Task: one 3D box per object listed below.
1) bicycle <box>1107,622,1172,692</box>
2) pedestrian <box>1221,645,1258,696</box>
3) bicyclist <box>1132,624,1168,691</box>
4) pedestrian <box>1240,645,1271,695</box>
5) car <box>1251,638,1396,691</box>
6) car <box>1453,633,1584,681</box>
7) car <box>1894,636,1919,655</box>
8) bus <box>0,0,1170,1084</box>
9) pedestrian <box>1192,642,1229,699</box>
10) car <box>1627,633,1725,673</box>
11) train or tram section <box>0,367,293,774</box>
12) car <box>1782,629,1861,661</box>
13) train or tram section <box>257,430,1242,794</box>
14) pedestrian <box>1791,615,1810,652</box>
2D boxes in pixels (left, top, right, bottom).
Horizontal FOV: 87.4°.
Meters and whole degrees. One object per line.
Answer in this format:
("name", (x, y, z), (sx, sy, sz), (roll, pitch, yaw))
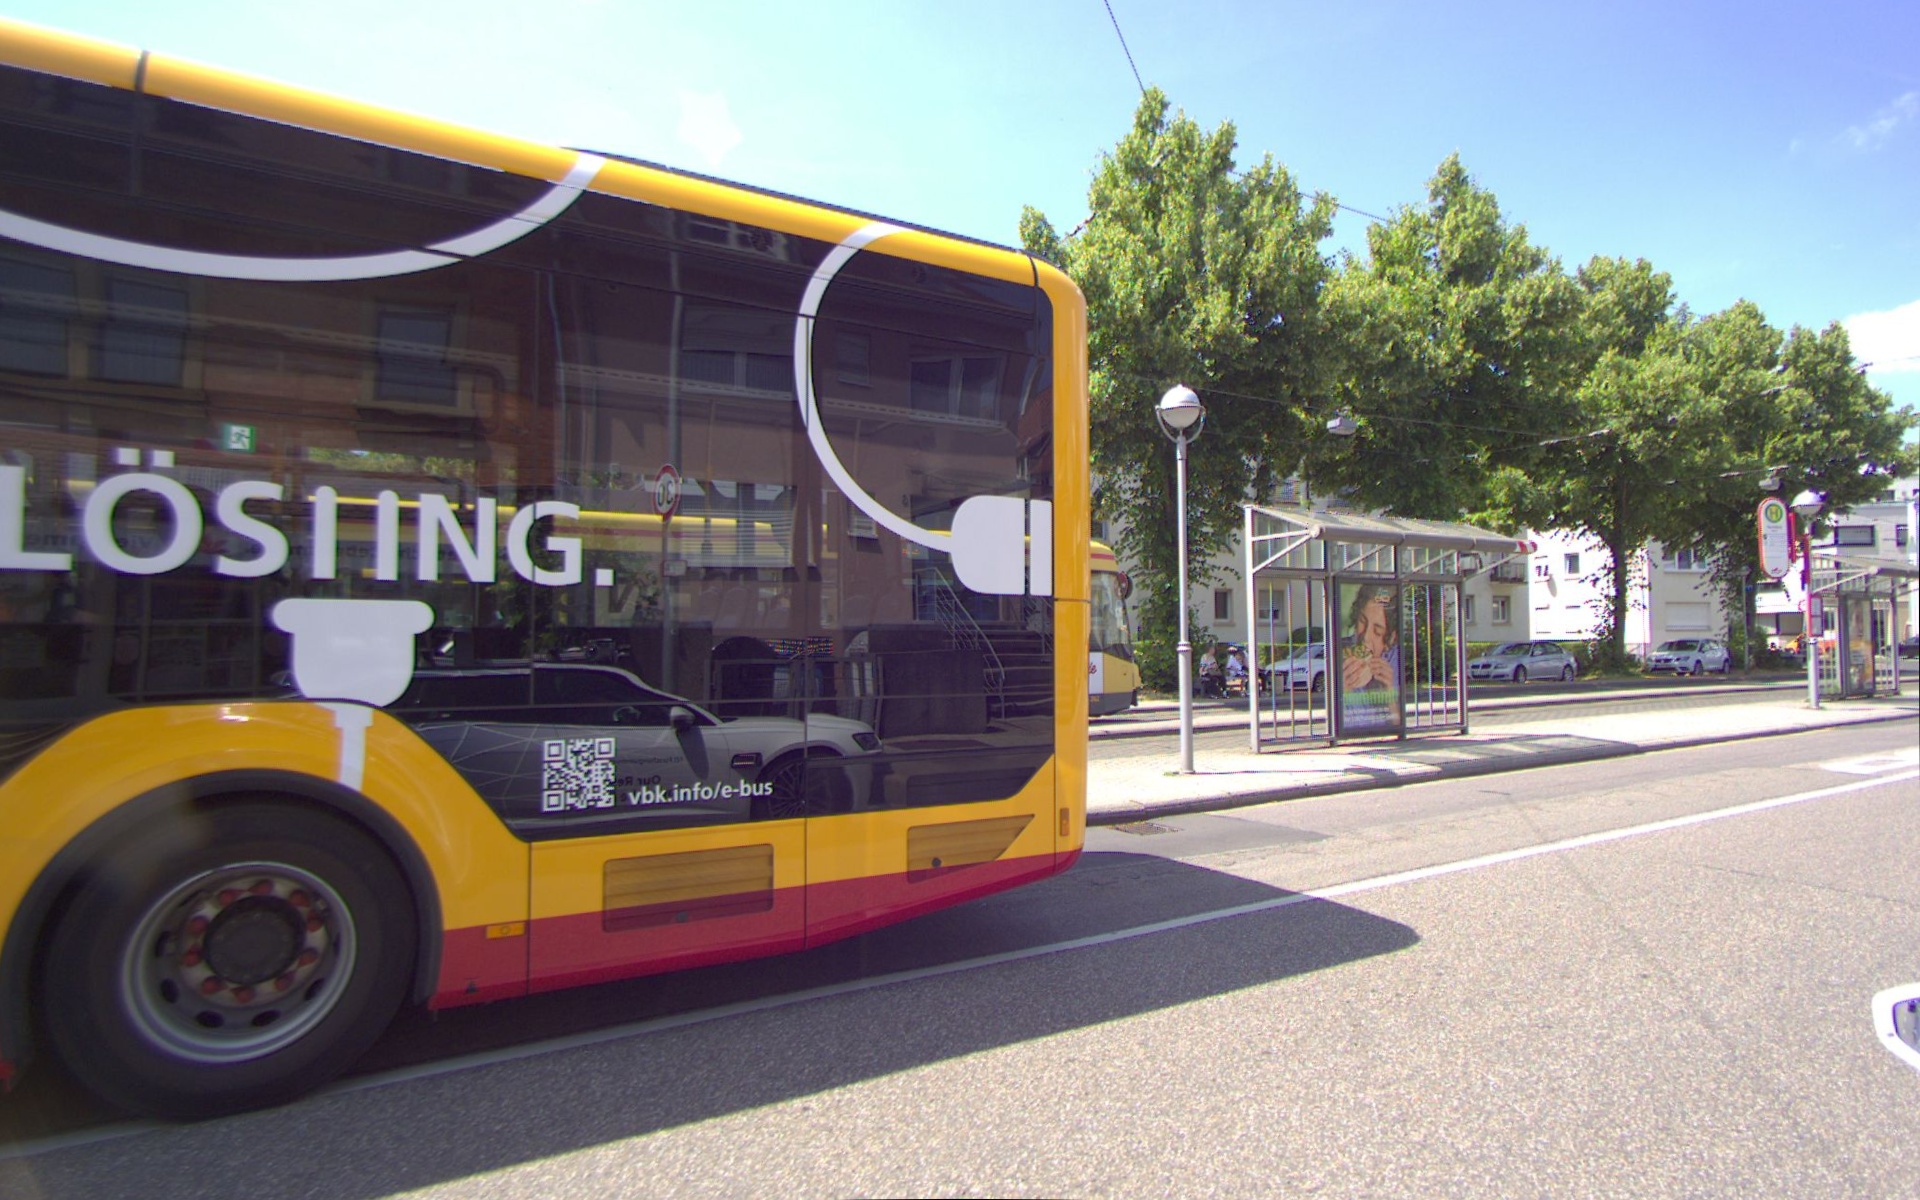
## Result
("bicycle", (4.863, 1.551, 27.189), (1.651, 1.837, 0.629), (3, -1, -31))
("pedestrian", (6.563, 1.660, 23.599), (0.533, 1.153, 0.612), (3, -1, -27))
("bicyclist", (5.181, 1.558, 27.386), (0.665, 1.766, 0.632), (3, -1, -30))
("pedestrian", (7.017, 1.662, 23.855), (0.451, 1.153, 0.508), (2, -1, -27))
("car", (9.926, 1.758, 27.356), (3.954, 1.290, 1.560), (3, -1, -31))
("car", (17.847, 1.825, 32.052), (4.351, 1.375, 1.685), (3, -1, -31))
("car", (62.918, 3.000, 65.061), (1.564, 1.239, 3.207), (2, -1, -12))
("bus", (-5.005, -0.495, 2.765), (12.054, 3.290, 2.884), (3, -1, -30))
("pedestrian", (5.783, 1.626, 23.211), (0.533, 1.267, 0.612), (2, -1, -27))
("car", (26.796, 1.983, 37.542), (3.959, 1.336, 1.704), (3, -1, -34))
("train or tram section", (-15.118, -0.446, 7.041), (17.150, 3.691, 2.949), (2, -1, -31))
("car", (59.346, 3.062, 69.256), (1.961, 2.040, 4.000), (2, -1, -1))
("train or tram section", (-1.869, 0.299, 15.001), (13.831, 3.691, 2.949), (2, -1, -31))
("pedestrian", (46.977, 1.880, 56.141), (0.672, 2.040, 0.618), (2, -1, 25))
